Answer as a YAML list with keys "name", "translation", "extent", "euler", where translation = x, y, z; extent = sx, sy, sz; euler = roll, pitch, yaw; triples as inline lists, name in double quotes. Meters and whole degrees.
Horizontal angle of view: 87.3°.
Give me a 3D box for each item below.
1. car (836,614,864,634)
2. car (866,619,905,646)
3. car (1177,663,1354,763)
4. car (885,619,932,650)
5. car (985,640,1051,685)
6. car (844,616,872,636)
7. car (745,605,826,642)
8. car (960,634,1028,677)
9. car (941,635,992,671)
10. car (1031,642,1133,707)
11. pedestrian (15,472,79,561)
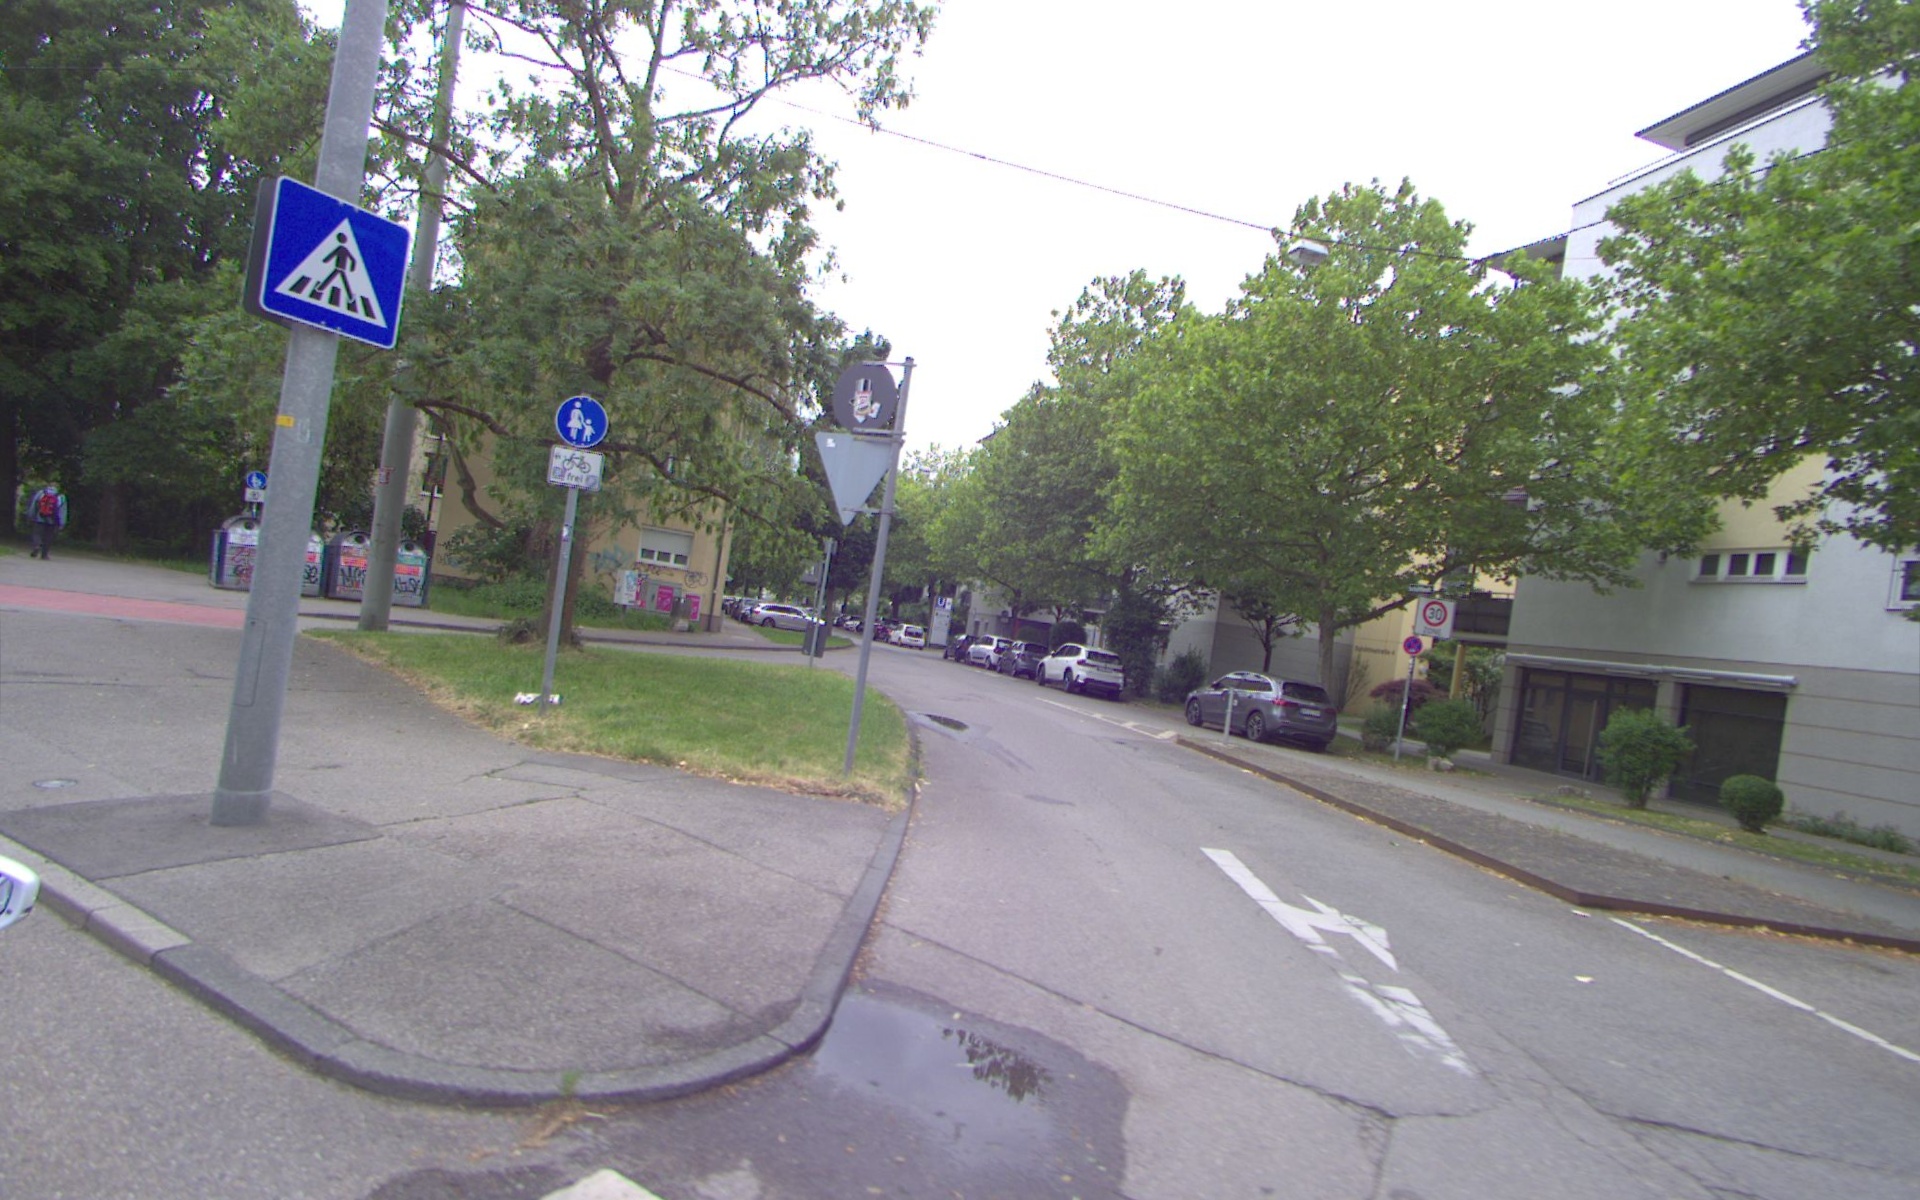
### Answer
- name: "car"
  translation: [-10.623, 2.300, 97.266]
  extent: [1.971, 1.498, 3.992]
  euler: [12, -3, -13]
- name: "car"
  translation: [-5.345, 2.260, 71.558]
  extent: [1.764, 1.463, 4.076]
  euler: [12, -3, -16]
- name: "car"
  translation: [6.981, 2.545, 23.445]
  extent: [1.855, 1.585, 4.007]
  euler: [12, -3, -16]
- name: "car"
  translation: [-3.400, 2.242, 65.395]
  extent: [1.767, 1.502, 3.618]
  euler: [12, -3, -21]
- name: "car"
  translation: [2.341, 2.548, 41.415]
  extent: [1.624, 1.389, 3.437]
  euler: [12, -3, -13]
- name: "car"
  translation: [-9.341, 2.392, 91.749]
  extent: [1.842, 1.396, 3.992]
  euler: [12, -3, -13]
- name: "car"
  translation: [-9.827, 1.304, 56.587]
  extent: [4.145, 1.595, 1.811]
  euler: [7, -1, -17]
- name: "car"
  translation: [1.502, 2.506, 45.941]
  extent: [1.629, 1.441, 3.426]
  euler: [12, -3, -22]
- name: "car"
  translation: [0.299, 2.660, 50.835]
  extent: [1.554, 1.368, 3.435]
  euler: [12, -3, -15]
- name: "car"
  translation: [4.024, 2.461, 33.958]
  extent: [1.759, 1.614, 4.238]
  euler: [11, -3, -15]
- name: "pedestrian"
  translation: [-21.534, -1.960, 23.727]
  extent: [1.004, 1.897, 0.921]
  euler: [12, 5, 42]
